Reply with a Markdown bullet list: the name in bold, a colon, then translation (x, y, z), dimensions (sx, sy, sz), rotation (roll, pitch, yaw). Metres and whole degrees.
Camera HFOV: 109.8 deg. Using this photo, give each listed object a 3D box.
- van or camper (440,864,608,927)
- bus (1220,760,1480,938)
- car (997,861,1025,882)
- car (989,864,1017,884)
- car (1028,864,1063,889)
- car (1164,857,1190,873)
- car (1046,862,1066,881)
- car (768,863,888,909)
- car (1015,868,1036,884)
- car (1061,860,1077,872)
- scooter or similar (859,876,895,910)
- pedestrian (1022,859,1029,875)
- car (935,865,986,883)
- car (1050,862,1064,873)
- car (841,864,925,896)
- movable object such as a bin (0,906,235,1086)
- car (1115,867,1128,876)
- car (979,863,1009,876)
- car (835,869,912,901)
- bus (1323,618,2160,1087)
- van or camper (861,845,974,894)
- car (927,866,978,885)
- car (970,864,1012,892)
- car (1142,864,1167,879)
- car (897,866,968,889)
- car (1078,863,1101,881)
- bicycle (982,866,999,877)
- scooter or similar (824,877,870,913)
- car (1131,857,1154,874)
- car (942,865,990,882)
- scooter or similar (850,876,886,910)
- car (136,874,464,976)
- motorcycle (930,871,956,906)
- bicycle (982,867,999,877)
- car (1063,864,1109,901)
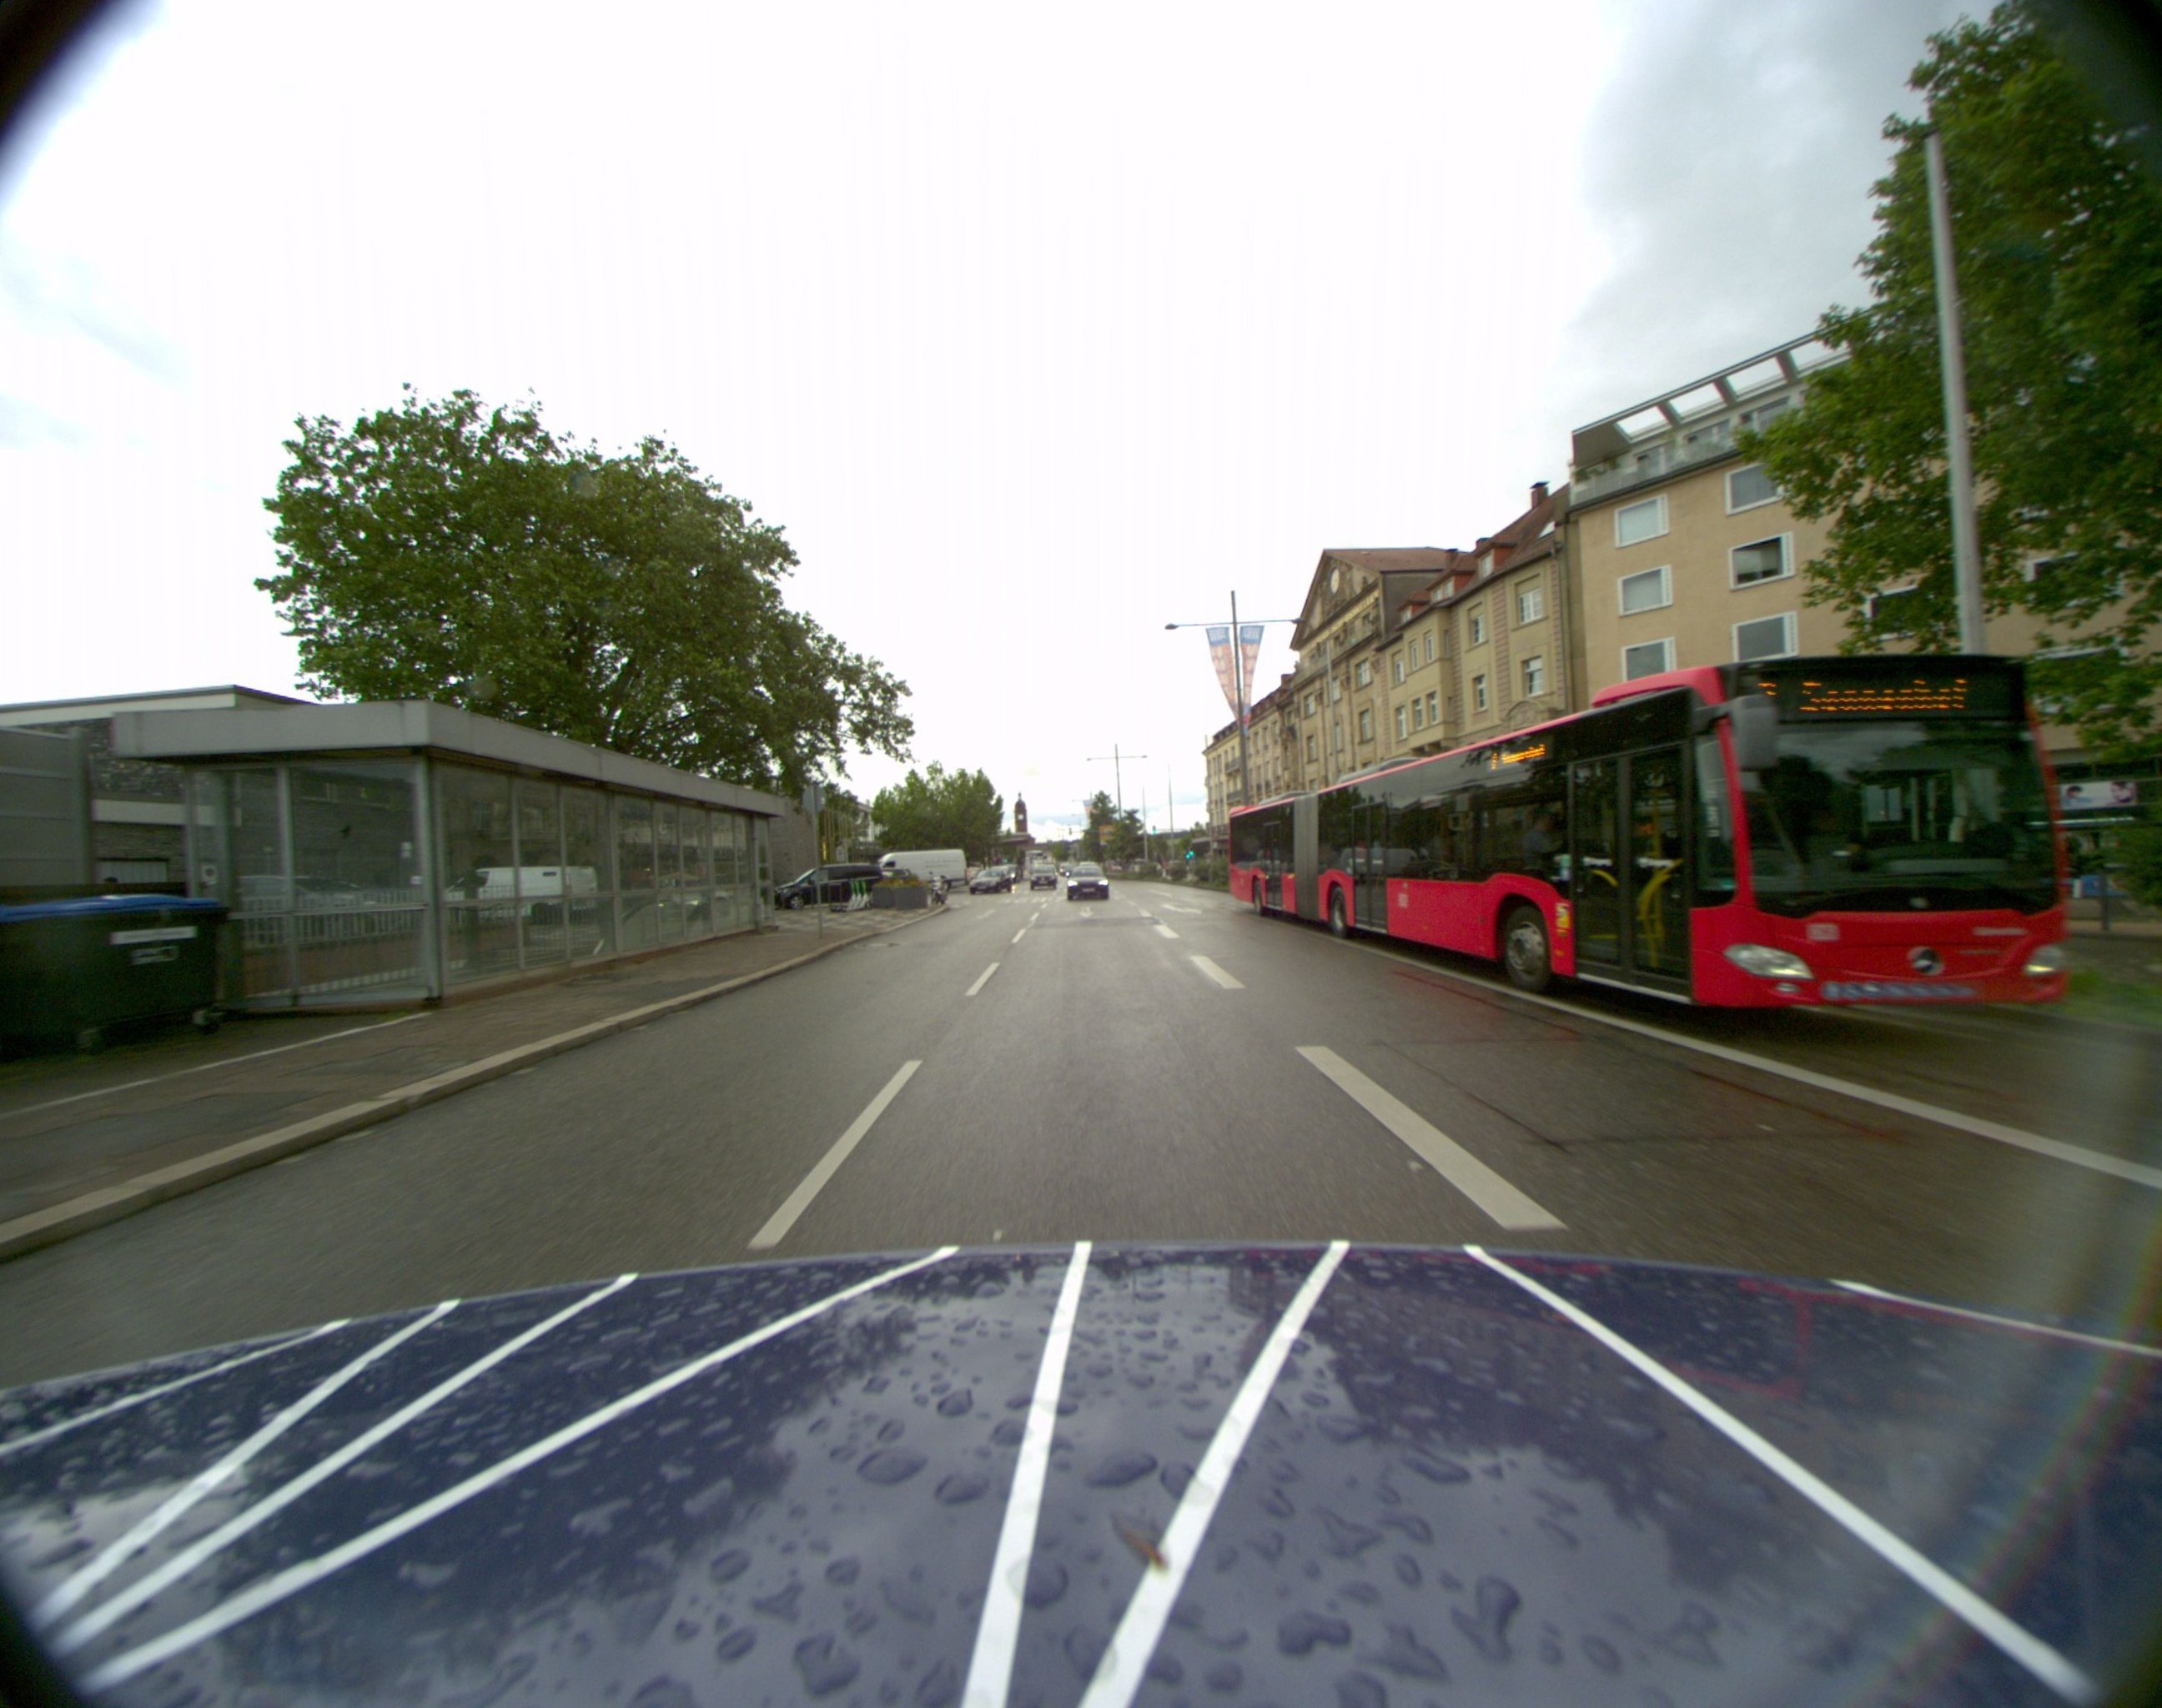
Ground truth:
- **van or camper**: translation (-19.413, 1.411, 26.631), dimensions (4.290, 1.979, 2.021), rotation (-1, 0, -3)
- **bus**: translation (5.865, -0.065, 18.969), dimensions (2.817, 3.226, 9.912), rotation (-1, 0, -1)
- **car**: translation (-5.944, 1.452, 64.990), dimensions (1.824, 1.672, 4.417), rotation (-2, 0, 2)
- **car**: translation (-6.053, 1.517, 59.338), dimensions (1.661, 1.465, 3.589), rotation (-2, 0, 1)
- **car**: translation (-2.230, 1.389, 48.752), dimensions (1.871, 1.465, 3.826), rotation (-2, 0, 2)
- **car**: translation (10.272, 1.167, 81.343), dimensions (1.999, 1.670, 4.100), rotation (-2, 0, -4)
- **car**: translation (-2.072, 1.406, 63.496), dimensions (1.620, 1.477, 3.669), rotation (-2, 0, -2)
- **car**: translation (-11.428, 1.392, 34.401), dimensions (4.707, 1.863, 2.104), rotation (-1, 0, -32)
- **car**: translation (-5.403, 2.165, 74.610), dimensions (1.661, 1.465, 3.589), rotation (-2, 0, 1)
- **car**: translation (-1.549, 1.498, 98.244), dimensions (1.984, 1.438, 3.908), rotation (-1, 0, -2)
- **scooter or similar**: translation (-7.446, 1.429, 27.806), dimensions (0.413, 1.148, 1.265), rotation (-4, -1, 31)
- **pedestrian**: translation (-6.079, 1.403, 83.365), dimensions (0.560, 1.741, 0.700), rotation (-1, 0, 4)
- **car**: translation (-10.256, 1.719, 64.653), dimensions (3.937, 1.391, 1.775), rotation (-1, 0, -29)
- **car**: translation (-3.658, 1.994, 115.098), dimensions (2.055, 1.581, 4.076), rotation (-1, 0, -4)
- **car**: translation (-11.196, 1.462, 43.044), dimensions (4.243, 1.625, 1.880), rotation (-1, 0, -29)
- **movable object such as a bin**: translation (-8.694, 1.182, 6.667), dimensions (1.037, 1.330, 1.317), rotation (-2, 0, -2)
- **car**: translation (6.939, 3.015, 130.117), dimensions (1.847, 1.455, 5.030), rotation (-2, 0, -2)
- **car**: translation (-11.347, 2.023, 98.921), dimensions (1.825, 1.482, 4.148), rotation (-1, 0, -43)
- **car**: translation (-10.943, 1.605, 40.054), dimensions (3.595, 1.515, 1.759), rotation (-1, 0, -26)
- **bus**: translation (5.937, 0.006, 9.612), dimensions (2.759, 3.114, 8.842), rotation (-2, 0, -1)
- **van or camper**: translation (-10.221, 0.907, 47.763), dimensions (6.541, 2.852, 2.275), rotation (-1, 0, -31)
- **car**: translation (-10.436, 1.722, 61.681), dimensions (3.626, 1.391, 1.775), rotation (-1, 0, -29)
- **car**: translation (-5.202, 1.372, 44.502), dimensions (1.871, 1.465, 3.826), rotation (-2, 0, 2)
- **car**: translation (7.595, 1.818, 79.147), dimensions (1.796, 1.398, 4.983), rotation (-1, 0, -3)
- **car**: translation (-10.385, 1.625, 53.135), dimensions (4.477, 1.462, 1.915), rotation (-1, 0, -30)
- **car**: translation (0.735, 1.538, 66.624), dimensions (1.983, 1.438, 3.908), rotation (-1, 0, 1)
- **bicycle**: translation (-9.292, 1.782, 78.058), dimensions (1.724, 1.040, 0.523), rotation (-2, 0, -43)
- **scooter or similar**: translation (-8.430, 1.479, 27.471), dimensions (1.067, 1.148, 1.667), rotation (-3, 1, 0)
- **car**: translation (7.512, 1.382, 93.264), dimensions (1.926, 1.962, 4.854), rotation (-2, 0, -5)
- **car**: translation (-10.307, 1.736, 68.278), dimensions (3.935, 1.391, 1.776), rotation (-1, 0, -22)
- **scooter or similar**: translation (-7.839, 1.431, 28.019), dimensions (0.413, 1.148, 1.265), rotation (-4, 0, 31)
- **car**: translation (-16.665, 1.455, 16.469), dimensions (4.698, 1.863, 2.108), rotation (-2, 0, -4)
- **motorcycle**: translation (-5.547, 1.362, 30.649), dimensions (0.645, 1.344, 2.109), rotation (-2, 0, 0)
- **bicycle**: translation (-9.366, 1.877, 78.827), dimensions (1.723, 1.040, 0.524), rotation (-1, 0, -35)
- **car**: translation (0.280, 1.202, 33.430), dimensions (1.871, 1.465, 3.826), rotation (-2, 0, 2)
